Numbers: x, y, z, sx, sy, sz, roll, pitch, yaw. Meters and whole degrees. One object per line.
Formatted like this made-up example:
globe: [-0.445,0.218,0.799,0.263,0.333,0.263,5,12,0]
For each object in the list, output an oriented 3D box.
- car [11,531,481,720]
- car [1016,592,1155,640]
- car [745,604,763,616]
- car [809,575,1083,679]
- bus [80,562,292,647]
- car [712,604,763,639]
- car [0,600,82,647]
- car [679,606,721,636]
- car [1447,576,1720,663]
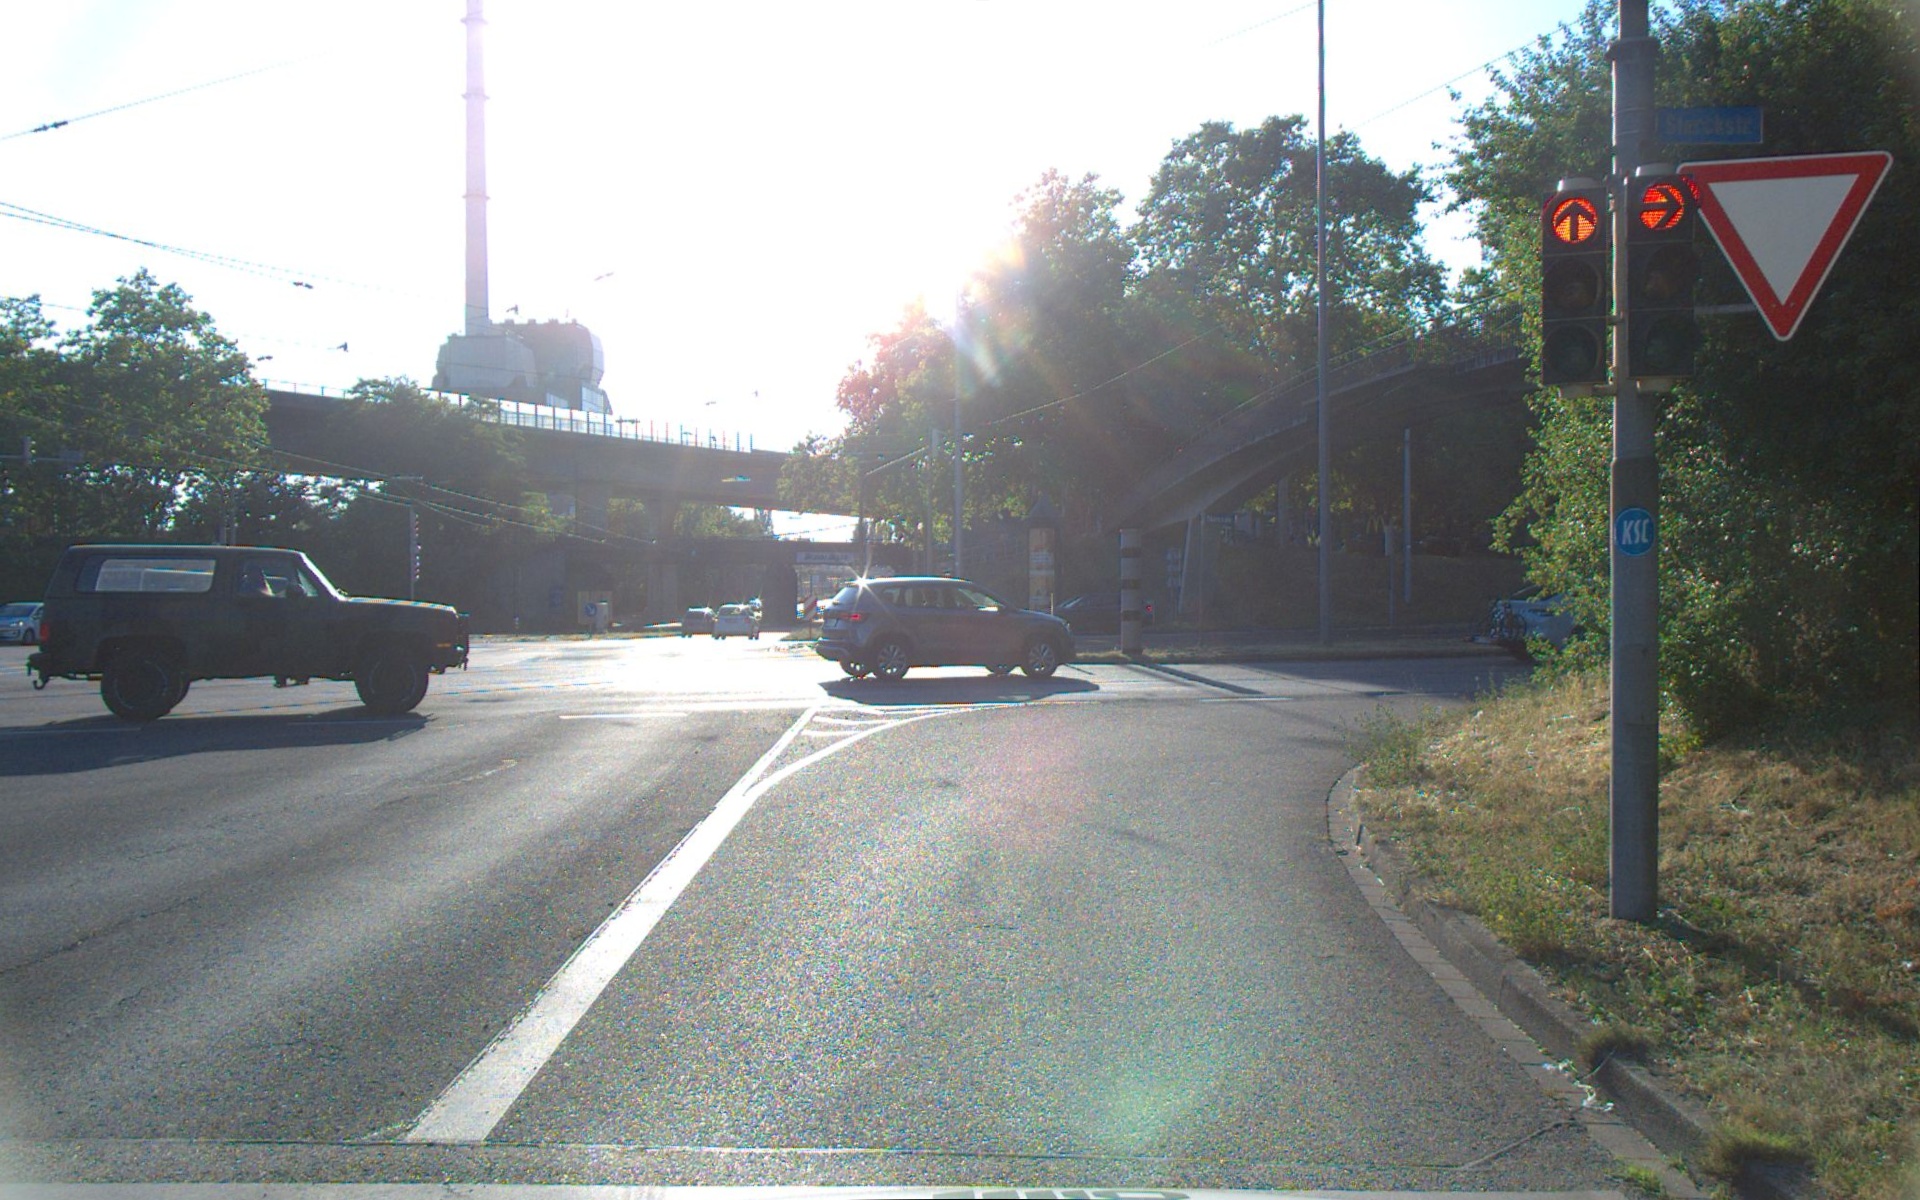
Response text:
car: [-8.310,0.284,19.636,4.860,2.026,2.023,0,0,-23]
car: [4.324,0.550,57.053,4.505,1.602,1.685,1,0,-18]
car: [-25.470,1.232,204.673,1.573,1.444,4.008,1,0,1]
car: [-0.231,0.421,26.981,4.177,1.602,1.682,0,0,-23]
bus: [-32.068,0.316,69.378,2.491,3.185,12.919,-1,-1,2]
car: [-9.481,0.901,70.743,1.631,1.429,4.196,1,0,-1]
car: [-32.156,0.799,57.188,1.574,1.538,4.006,1,0,-3]
car: [-13.435,1.067,85.573,1.632,1.429,4.443,1,0,-3]
car: [12.234,0.367,32.409,5.274,1.602,1.729,0,0,-22]
